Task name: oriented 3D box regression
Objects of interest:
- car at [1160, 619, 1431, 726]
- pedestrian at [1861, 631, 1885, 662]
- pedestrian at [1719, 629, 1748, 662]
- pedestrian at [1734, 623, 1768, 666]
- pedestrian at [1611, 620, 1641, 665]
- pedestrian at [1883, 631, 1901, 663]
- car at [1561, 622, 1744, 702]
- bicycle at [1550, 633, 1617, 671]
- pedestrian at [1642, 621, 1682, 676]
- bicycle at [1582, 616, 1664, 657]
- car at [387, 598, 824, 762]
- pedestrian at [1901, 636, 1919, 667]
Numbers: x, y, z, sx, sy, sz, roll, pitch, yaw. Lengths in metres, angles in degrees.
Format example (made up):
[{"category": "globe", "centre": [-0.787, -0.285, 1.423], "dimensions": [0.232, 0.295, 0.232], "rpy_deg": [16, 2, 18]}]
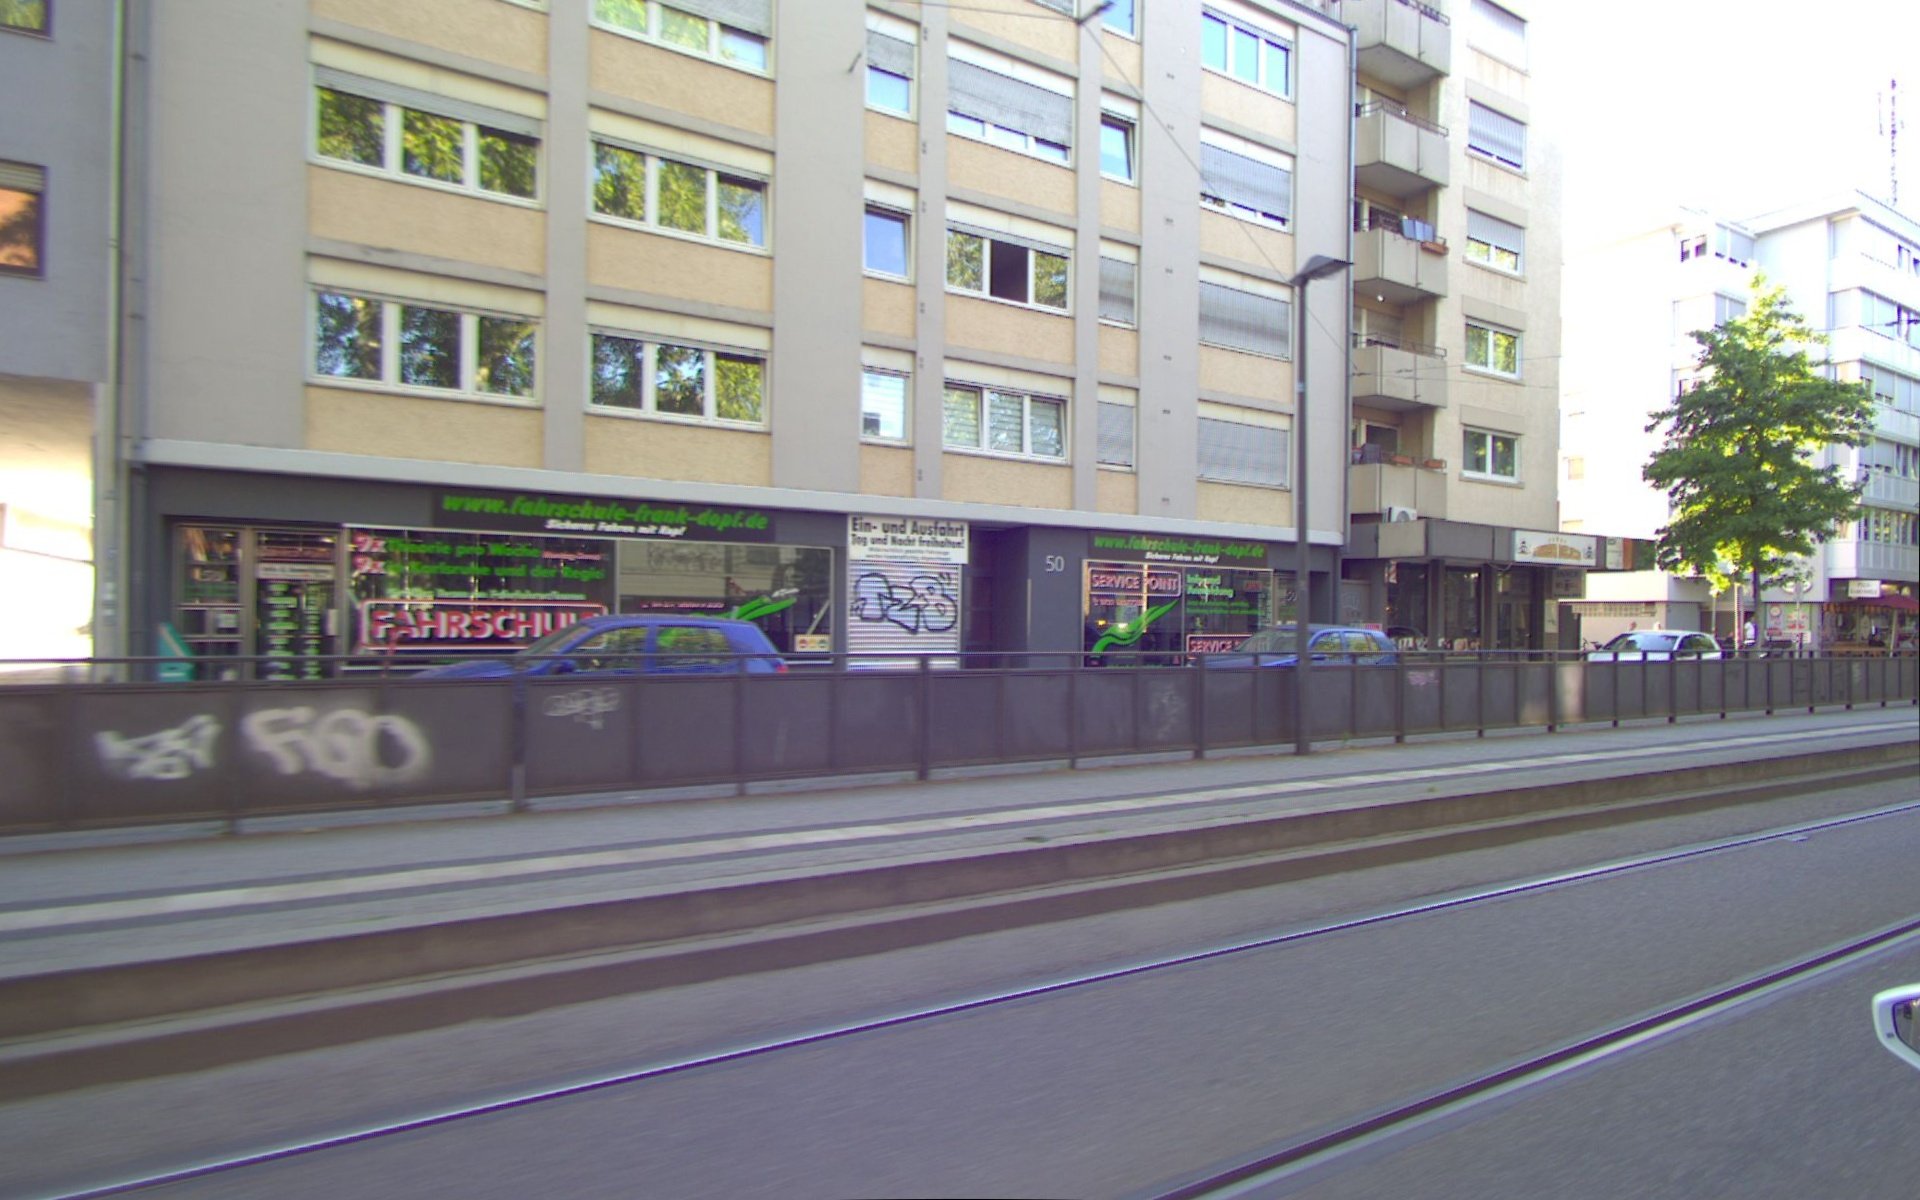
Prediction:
[{"category": "car", "centre": [5.622, 1.134, 16.739], "dimensions": [4.337, 1.564, 1.947], "rpy_deg": [1, -2, -30]}, {"category": "pedestrian", "centre": [36.337, 1.845, 39.986], "dimensions": [0.553, 1.214, 0.513], "rpy_deg": [0, -1, 25]}, {"category": "pedestrian", "centre": [30.160, 1.760, 39.179], "dimensions": [0.735, 1.258, 0.768], "rpy_deg": [0, -1, 26]}, {"category": "pedestrian", "centre": [31.135, 1.750, 39.522], "dimensions": [0.756, 1.681, 0.747], "rpy_deg": [1, -1, -15]}, {"category": "pedestrian", "centre": [25.947, 1.648, 39.148], "dimensions": [0.761, 1.693, 0.752], "rpy_deg": [1, -1, -35]}, {"category": "pedestrian", "centre": [36.383, 1.832, 39.197], "dimensions": [0.506, 1.214, 0.560], "rpy_deg": [0, -1, 44]}, {"category": "car", "centre": [15.929, 1.376, 23.066], "dimensions": [4.309, 1.673, 1.868], "rpy_deg": [1, -2, -31]}, {"category": "bicycle", "centre": [20.338, 1.686, 32.791], "dimensions": [0.567, 1.172, 1.771], "rpy_deg": [1, -1, -36]}, {"category": "pedestrian", "centre": [20.575, 1.404, 29.442], "dimensions": [0.716, 1.577, 0.722], "rpy_deg": [1, -1, -28]}, {"category": "bicycle", "centre": [19.947, 1.085, 30.243], "dimensions": [2.006, 1.172, 0.570], "rpy_deg": [0, -1, 38]}, {"category": "car", "centre": [-3.794, 0.787, 10.951], "dimensions": [4.232, 1.483, 1.786], "rpy_deg": [1, -2, -30]}, {"category": "pedestrian", "centre": [37.879, 2.056, 39.932], "dimensions": [0.557, 1.214, 0.509], "rpy_deg": [1, -1, -28]}]
